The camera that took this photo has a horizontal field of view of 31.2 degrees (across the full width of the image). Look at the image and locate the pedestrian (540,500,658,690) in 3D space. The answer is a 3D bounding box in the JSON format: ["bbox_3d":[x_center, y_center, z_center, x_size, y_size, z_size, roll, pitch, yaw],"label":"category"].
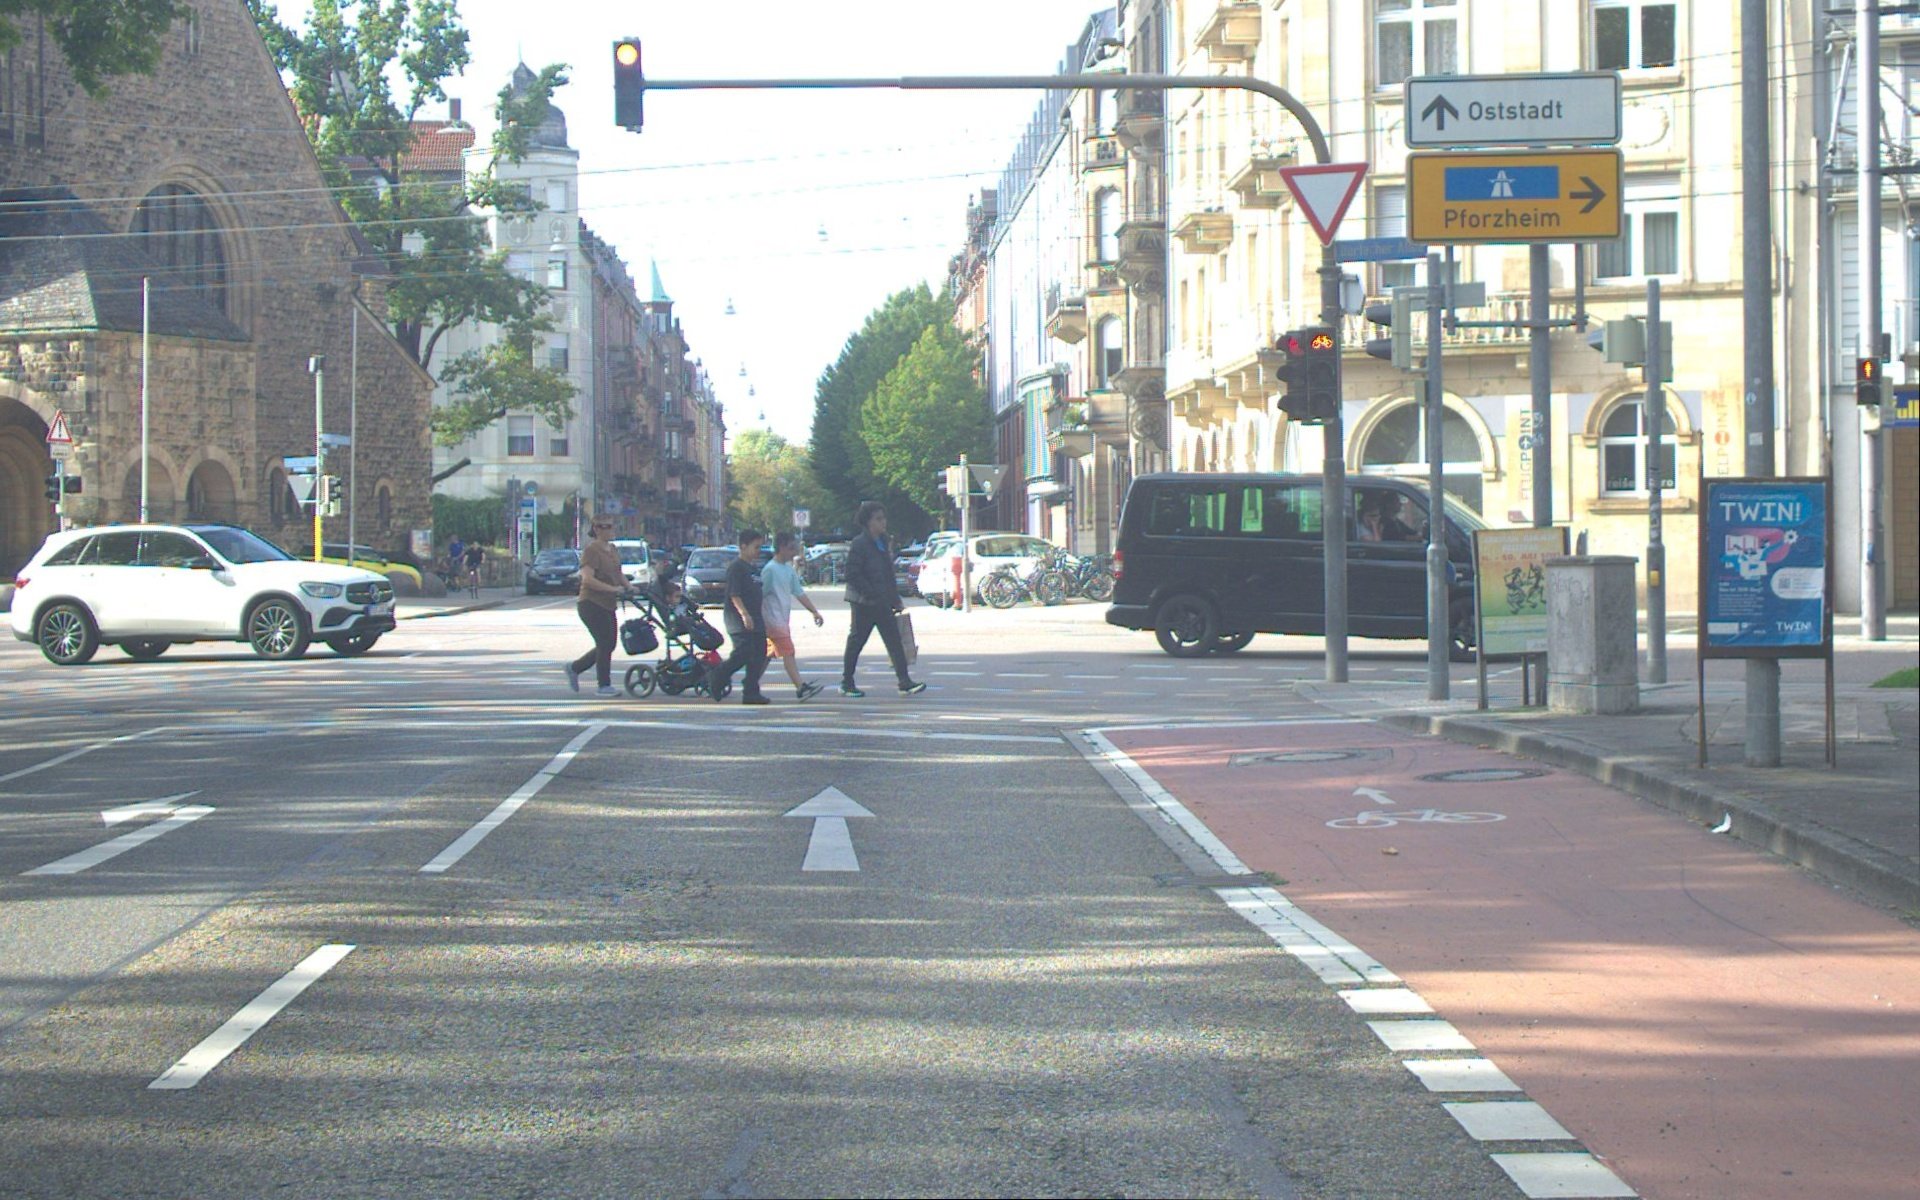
[{"bbox_3d":[-3.127,-0.052,29.789,0.815,1.623,0.604,0,1,23],"label":"pedestrian"}]

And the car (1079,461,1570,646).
[{"bbox_3d":[3.876,-0.495,36.413,4.848,1.864,2.030,0,1,18],"label":"car"}]

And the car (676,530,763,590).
[{"bbox_3d":[-5.797,-0.992,83.163,1.949,1.367,4.001,-1,2,-2],"label":"car"}]

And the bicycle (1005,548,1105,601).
[{"bbox_3d":[2.016,-0.548,73.180,2.022,1.078,0.620,-1,1,-11],"label":"bicycle"}]

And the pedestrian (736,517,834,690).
[{"bbox_3d":[-1.464,0.022,28.774,0.656,1.427,0.498,0,1,21],"label":"pedestrian"}]

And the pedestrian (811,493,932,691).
[{"bbox_3d":[-0.753,-0.076,29.309,0.782,1.656,0.778,0,1,21],"label":"pedestrian"}]

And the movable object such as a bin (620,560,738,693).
[{"bbox_3d":[-2.412,0.219,29.517,0.838,1.120,0.575,0,1,22],"label":"movable object such as a bin"}]

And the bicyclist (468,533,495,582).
[{"bbox_3d":[-13.694,-1.216,98.351,0.683,1.363,0.780,0,1,-2],"label":"bicyclist"}]

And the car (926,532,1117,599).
[{"bbox_3d":[1.327,-0.770,75.513,3.986,1.415,2.000,-1,1,-5],"label":"car"}]

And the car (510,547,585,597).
[{"bbox_3d":[-13.029,-0.908,108.689,1.993,1.492,4.001,0,1,-2],"label":"car"}]

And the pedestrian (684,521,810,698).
[{"bbox_3d":[-1.744,0.067,28.202,0.782,1.427,0.730,0,1,21],"label":"pedestrian"}]

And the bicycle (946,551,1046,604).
[{"bbox_3d":[0.768,-0.482,73.120,2.022,1.078,0.620,-1,1,-11],"label":"bicycle"}]

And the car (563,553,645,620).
[{"bbox_3d":[-9.805,-0.386,94.929,1.949,1.744,4.001,0,1,-2],"label":"car"}]

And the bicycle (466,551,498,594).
[{"bbox_3d":[-13.701,-0.791,98.528,0.691,1.177,1.919,0,1,-2],"label":"bicycle"}]

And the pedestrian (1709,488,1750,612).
[{"bbox_3d":[13.114,-0.854,58.586,0.526,2.086,0.496,2,1,24],"label":"pedestrian"}]

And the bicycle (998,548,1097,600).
[{"bbox_3d":[1.885,-0.565,73.849,2.022,1.078,0.631,-1,1,-11],"label":"bicycle"}]

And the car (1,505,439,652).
[{"bbox_3d":[-8.795,-0.273,40.927,4.710,1.677,2.015,0,1,18],"label":"car"}]

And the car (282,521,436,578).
[{"bbox_3d":[-17.354,-1.472,99.317,3.989,1.590,1.868,-2,2,-40],"label":"car"}]
